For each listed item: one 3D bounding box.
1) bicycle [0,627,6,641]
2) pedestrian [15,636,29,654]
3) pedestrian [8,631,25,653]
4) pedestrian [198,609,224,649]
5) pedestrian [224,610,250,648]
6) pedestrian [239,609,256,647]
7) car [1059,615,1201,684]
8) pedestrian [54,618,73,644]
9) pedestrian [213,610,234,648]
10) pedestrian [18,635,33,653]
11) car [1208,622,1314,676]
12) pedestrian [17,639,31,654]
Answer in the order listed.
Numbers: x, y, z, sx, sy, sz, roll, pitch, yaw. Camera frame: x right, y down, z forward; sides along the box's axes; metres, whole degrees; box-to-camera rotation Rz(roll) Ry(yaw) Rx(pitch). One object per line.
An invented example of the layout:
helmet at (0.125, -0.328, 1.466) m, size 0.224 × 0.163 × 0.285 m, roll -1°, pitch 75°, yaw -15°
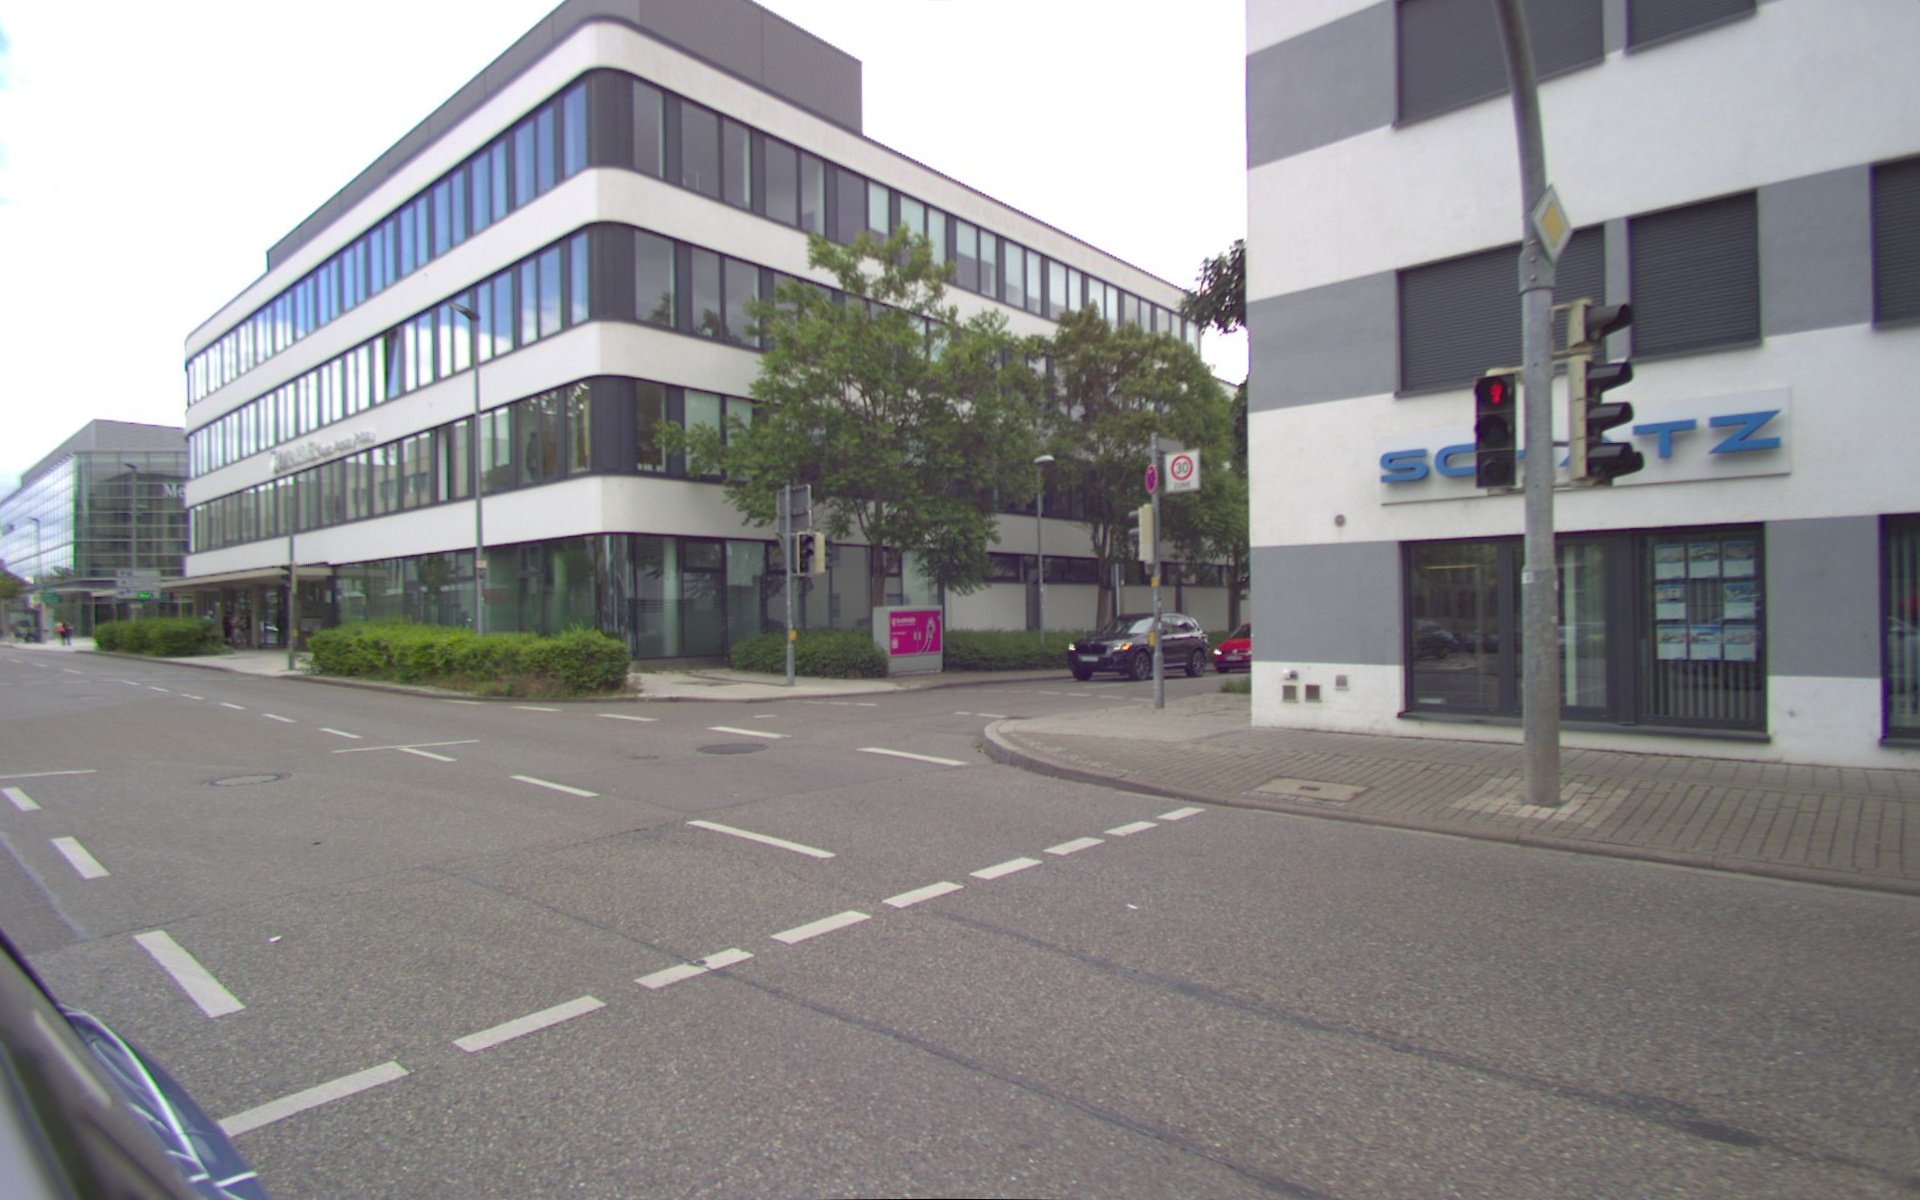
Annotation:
bicycle at (-82.804, 2.966, 86.341) m, size 1.973 × 1.139 × 0.640 m, roll -3°, pitch 0°, yaw -34°
pedestrian at (-68.436, 3.278, 73.815) m, size 0.576 × 1.263 × 0.677 m, roll -2°, pitch -2°, yaw 40°
pedestrian at (-69.065, 3.078, 74.067) m, size 0.568 × 1.644 × 0.686 m, roll 0°, pitch -2°, yaw 0°
pedestrian at (-32.084, 1.245, 43.336) m, size 0.931 × 1.686 × 0.722 m, roll -2°, pitch 0°, yaw 43°
pedestrian at (-31.266, 1.248, 43.754) m, size 0.931 × 1.625 × 0.722 m, roll -2°, pitch 0°, yaw 43°
pedestrian at (-33.234, 1.321, 47.213) m, size 0.497 × 1.743 × 0.617 m, roll 0°, pitch -1°, yaw -18°
car at (4.329, 1.256, 25.330) m, size 1.908 × 1.544 × 3.951 m, roll -4°, pitch -5°, yaw 36°
pedestrian at (-55.888, 1.926, 63.073) m, size 0.820 × 1.579 × 0.814 m, roll -2°, pitch 0°, yaw -44°
pedestrian at (-34.238, 1.338, 47.056) m, size 0.501 × 1.723 × 0.613 m, roll -1°, pitch -1°, yaw 11°
pedestrian at (-67.447, 3.186, 73.021) m, size 0.576 × 1.330 × 0.677 m, roll -2°, pitch -3°, yaw 40°
car at (9.278, 1.470, 31.005) m, size 1.683 × 1.539 × 3.946 m, roll -2°, pitch -3°, yaw 40°
pedestrian at (-67.948, 3.351, 73.461) m, size 0.576 × 1.084 × 0.677 m, roll -2°, pitch -4°, yaw 40°
